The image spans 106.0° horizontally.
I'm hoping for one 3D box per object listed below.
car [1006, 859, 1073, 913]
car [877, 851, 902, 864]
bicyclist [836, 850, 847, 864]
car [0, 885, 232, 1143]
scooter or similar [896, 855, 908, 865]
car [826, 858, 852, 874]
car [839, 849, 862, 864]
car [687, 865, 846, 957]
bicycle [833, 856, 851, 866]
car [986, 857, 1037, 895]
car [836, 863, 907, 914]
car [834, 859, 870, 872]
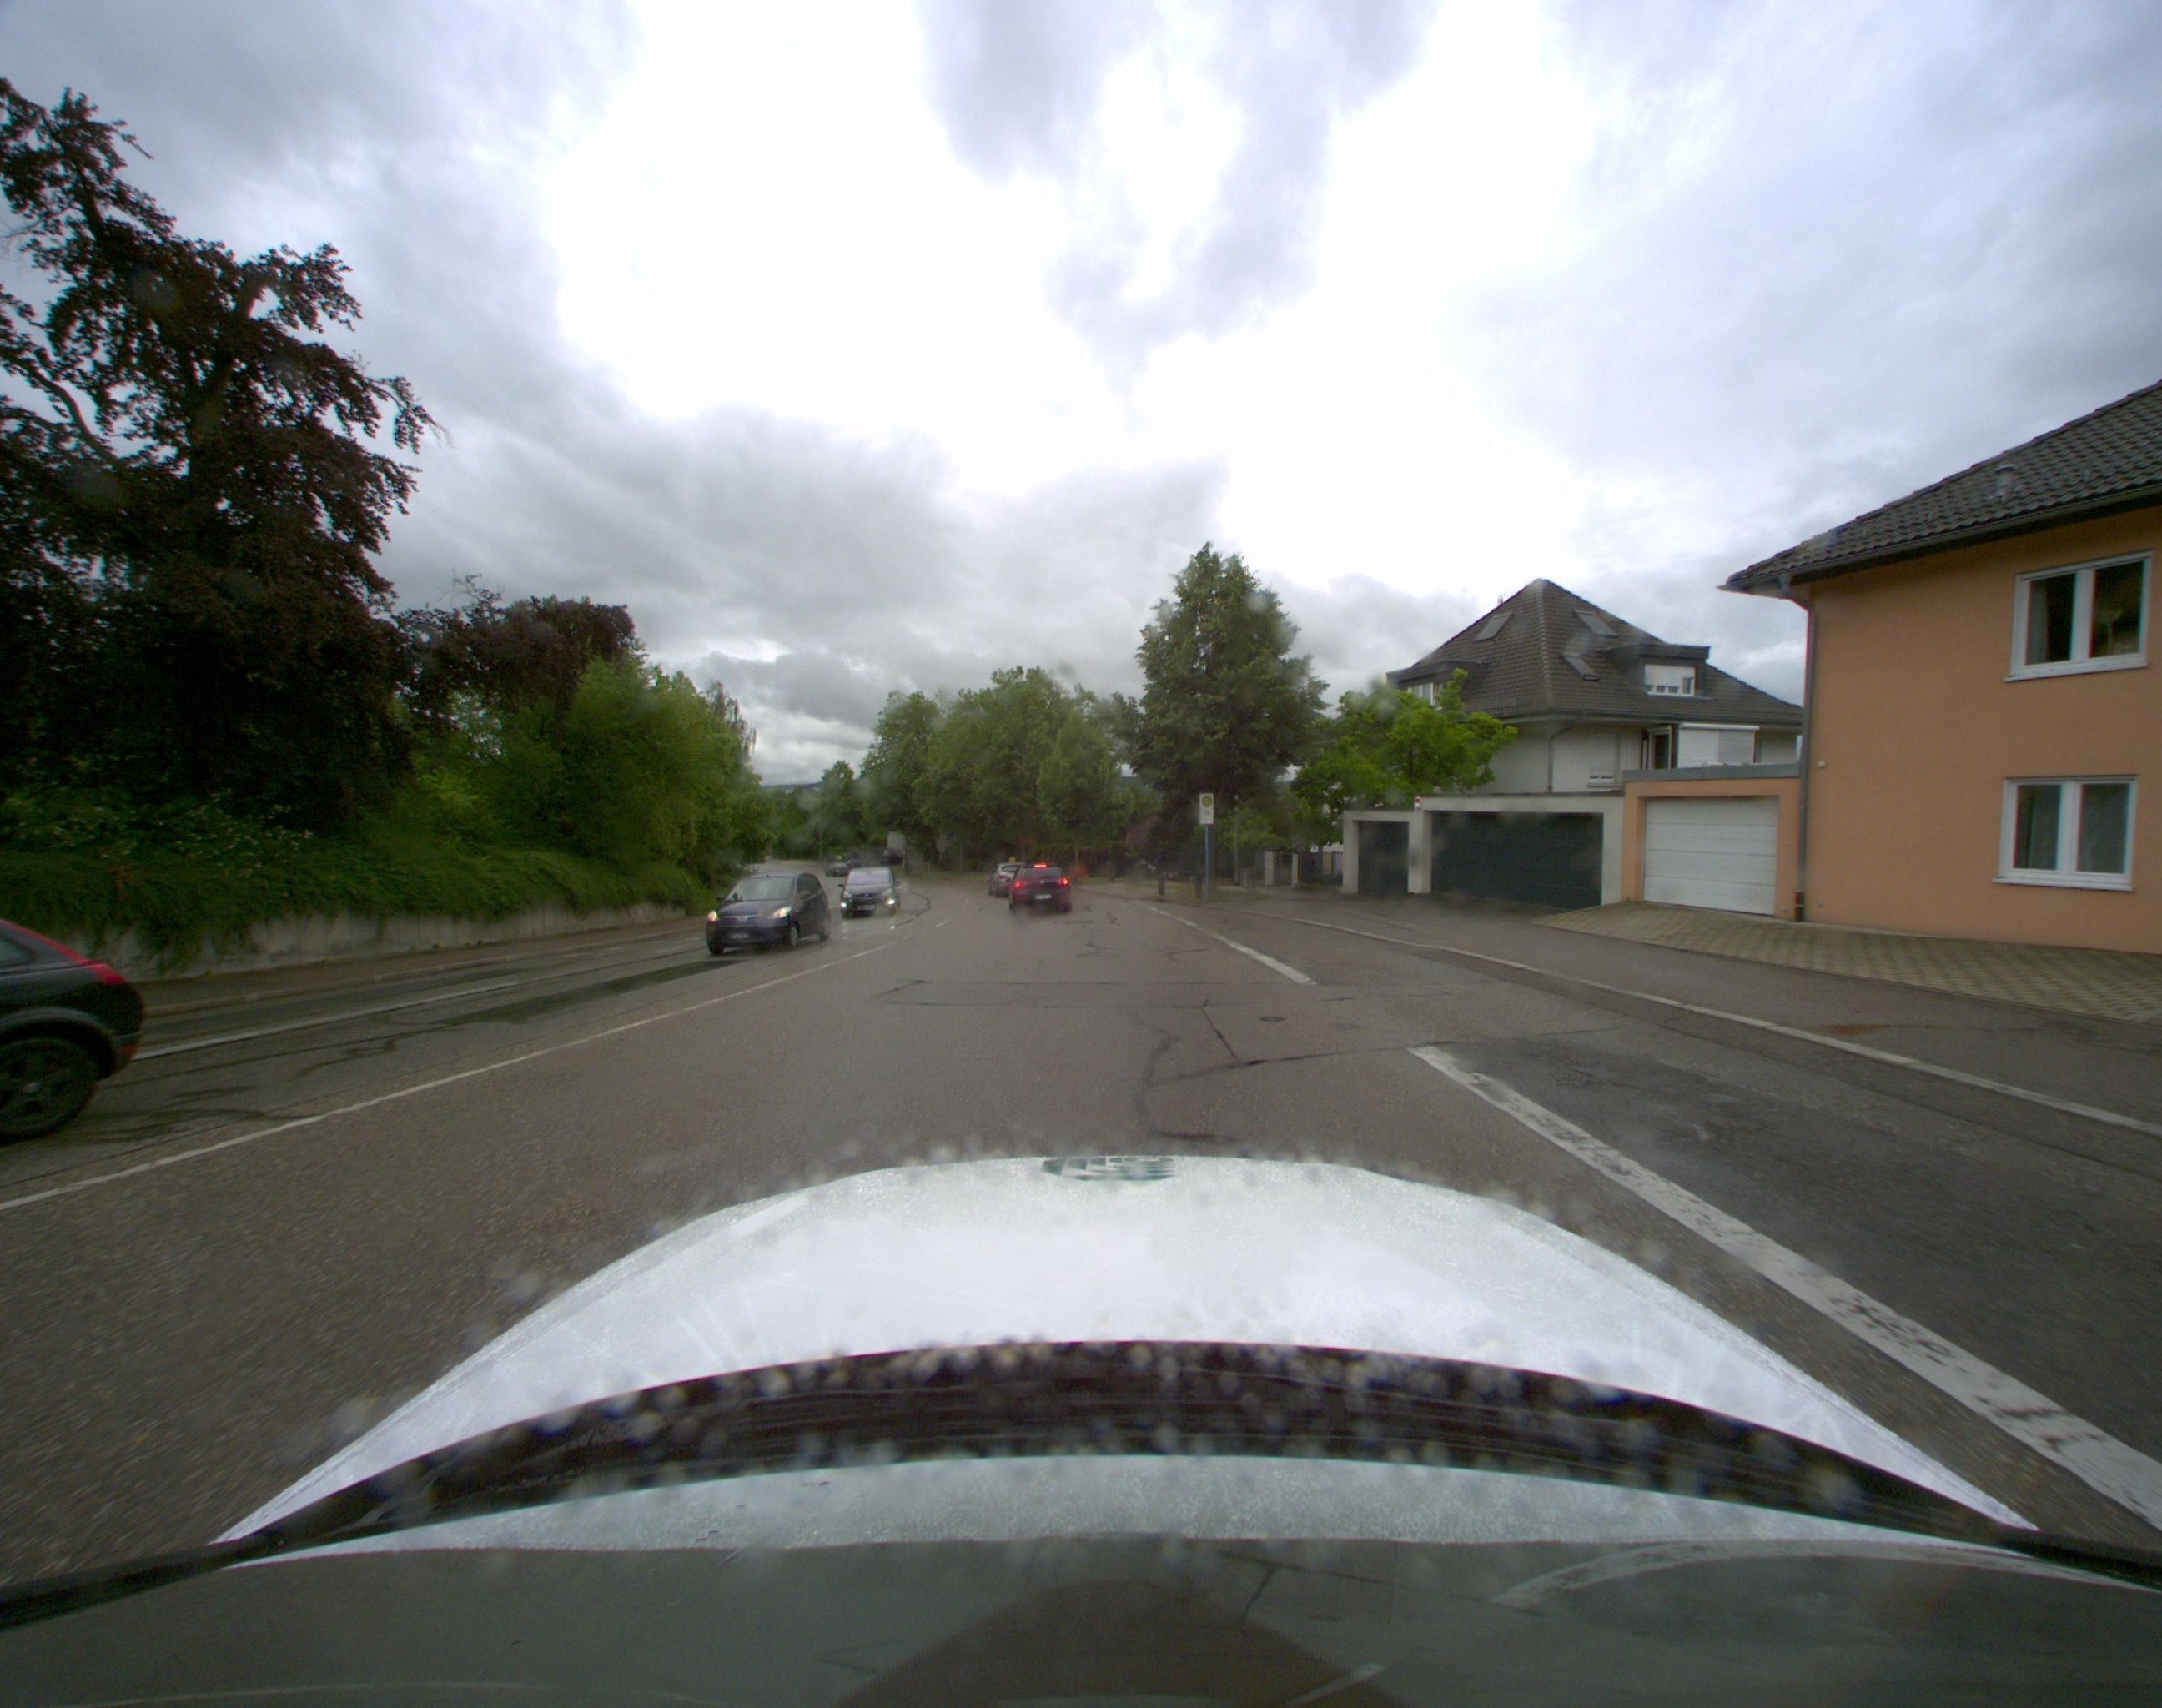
[{"bbox_3d":[-1.353,0.911,25.013,1.720,1.464,3.989,-2,0,-8],"label":"car"},{"bbox_3d":[-26.050,0.480,110.888,1.741,1.469,4.577,1,4,7],"label":"car"},{"bbox_3d":[-30.745,0.404,104.565,1.280,1.755,0.852,-2,0,-7],"label":"bicyclist"},{"bbox_3d":[-7.183,0.952,3.707,1.782,1.447,4.408,-2,-1,5],"label":"car"},{"bbox_3d":[-24.057,0.794,109.407,1.346,1.285,0.555,-3,2,-36],"label":"scooter or similar"},{"bbox_3d":[-24.436,1.178,82.314,1.731,1.464,3.964,2,0,-28],"label":"car"},{"bbox_3d":[-31.368,0.353,110.876,1.942,1.689,4.901,1,4,-2],"label":"car"},{"bbox_3d":[-6.342,1.065,16.979,1.717,1.464,4.373,-2,1,-3],"label":"car"},{"bbox_3d":[-30.725,0.908,104.571,2.029,1.155,0.852,-2,0,-7],"label":"bicycle"},{"bbox_3d":[-3.150,0.947,36.143,1.755,1.464,3.984,-2,1,-12],"label":"car"},{"bbox_3d":[-7.208,1.130,28.454,1.809,1.577,4.673,-2,0,-8],"label":"car"},{"bbox_3d":[-28.069,1.427,99.709,4.141,1.383,1.715,-2,0,-21],"label":"car"}]
